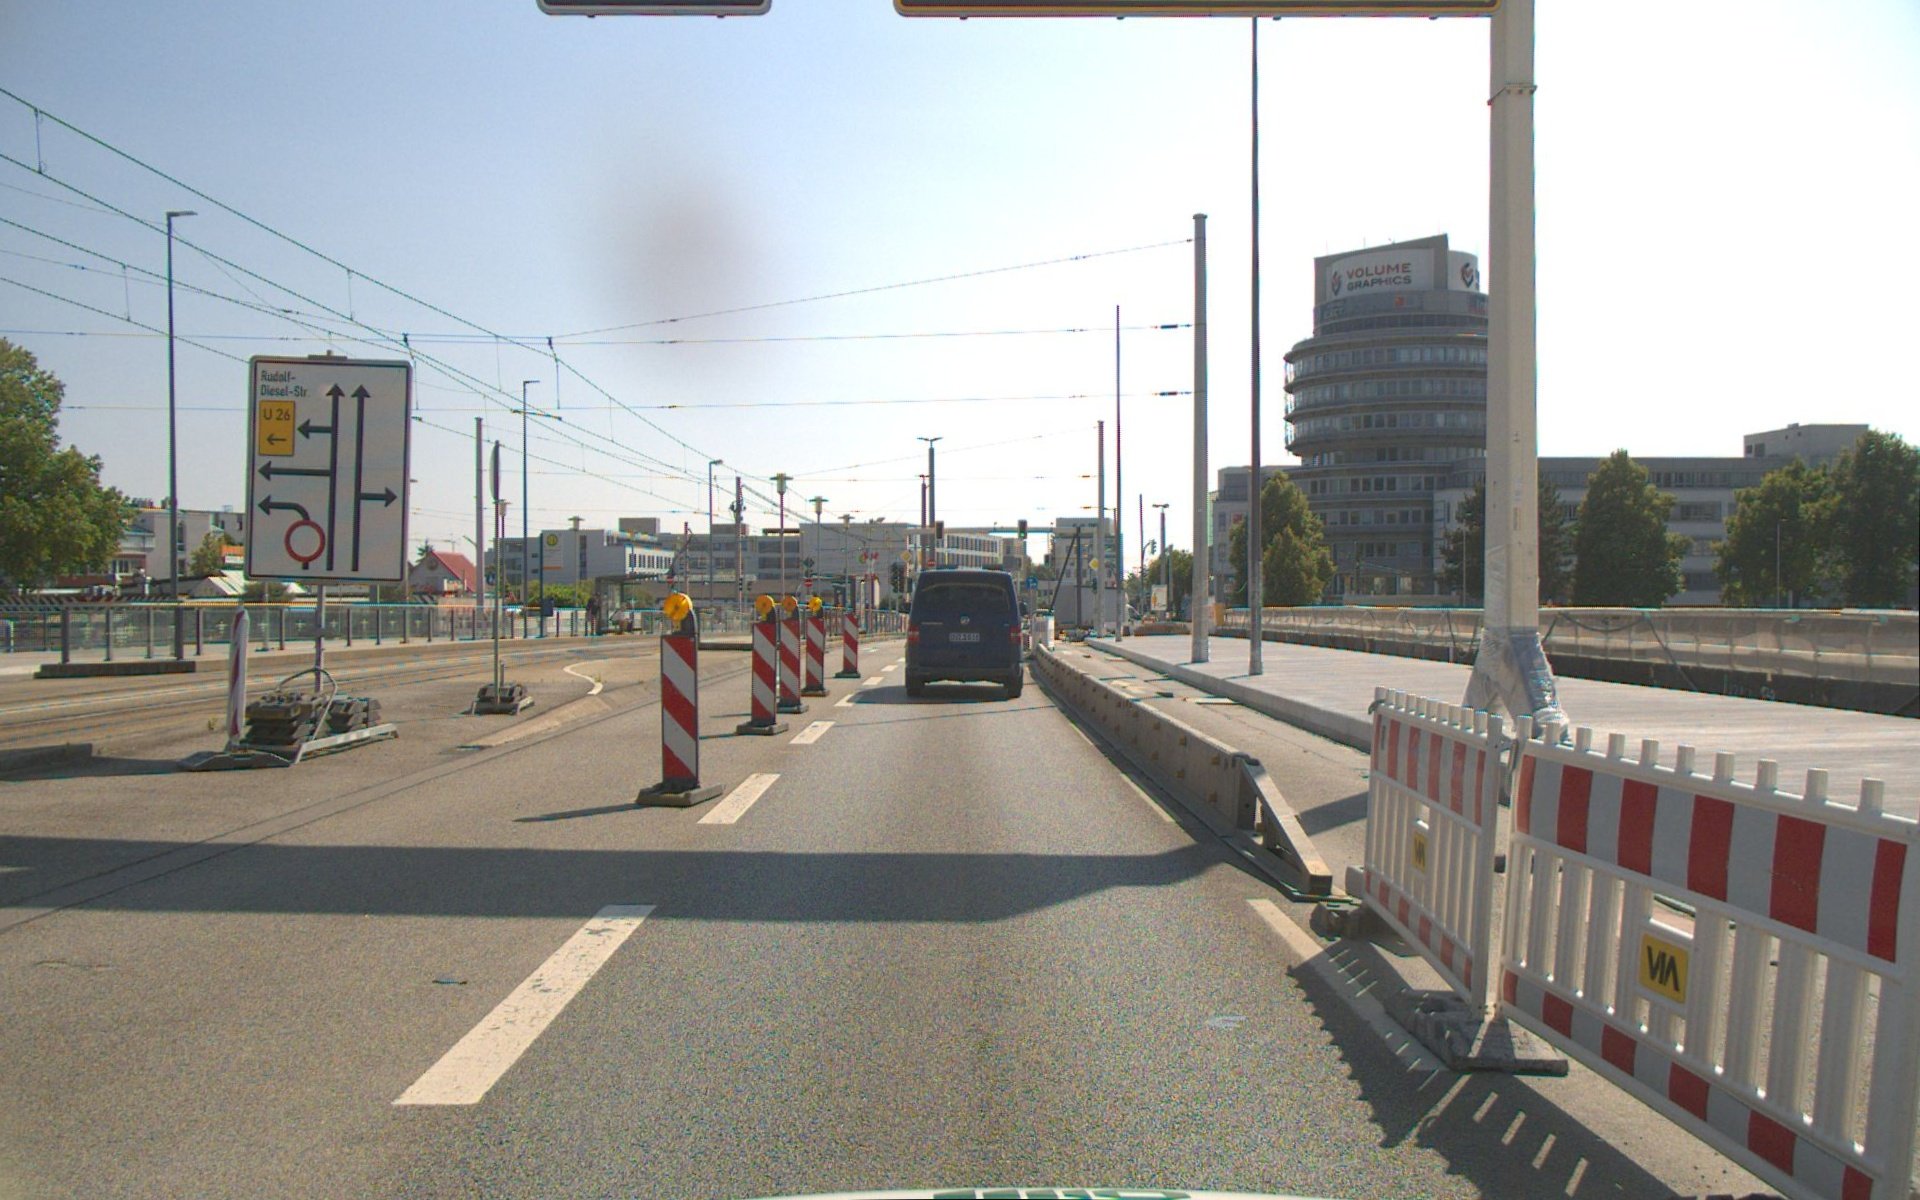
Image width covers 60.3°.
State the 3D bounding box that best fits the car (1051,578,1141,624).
[{"bbox_3d":[9.008,0.065,109.223,5.906,2.937,2.316,1,0,-37],"label":"car"}]

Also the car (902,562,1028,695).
[{"bbox_3d":[0.110,0.420,27.022,1.849,1.968,4.001,1,0,1],"label":"car"}]

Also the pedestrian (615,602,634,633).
[{"bbox_3d":[-13.987,0.719,68.980,0.634,1.296,0.697,0,-1,4],"label":"pedestrian"}]

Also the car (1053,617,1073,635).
[{"bbox_3d":[8.919,2.241,143.338,1.707,1.501,3.886,0,-1,4],"label":"car"}]

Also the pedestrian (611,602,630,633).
[{"bbox_3d":[-14.036,0.724,68.404,0.634,1.296,0.453,0,-1,4],"label":"pedestrian"}]

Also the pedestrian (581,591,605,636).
[{"bbox_3d":[-13.646,0.499,61.517,0.646,1.683,0.740,0,0,12],"label":"pedestrian"}]
